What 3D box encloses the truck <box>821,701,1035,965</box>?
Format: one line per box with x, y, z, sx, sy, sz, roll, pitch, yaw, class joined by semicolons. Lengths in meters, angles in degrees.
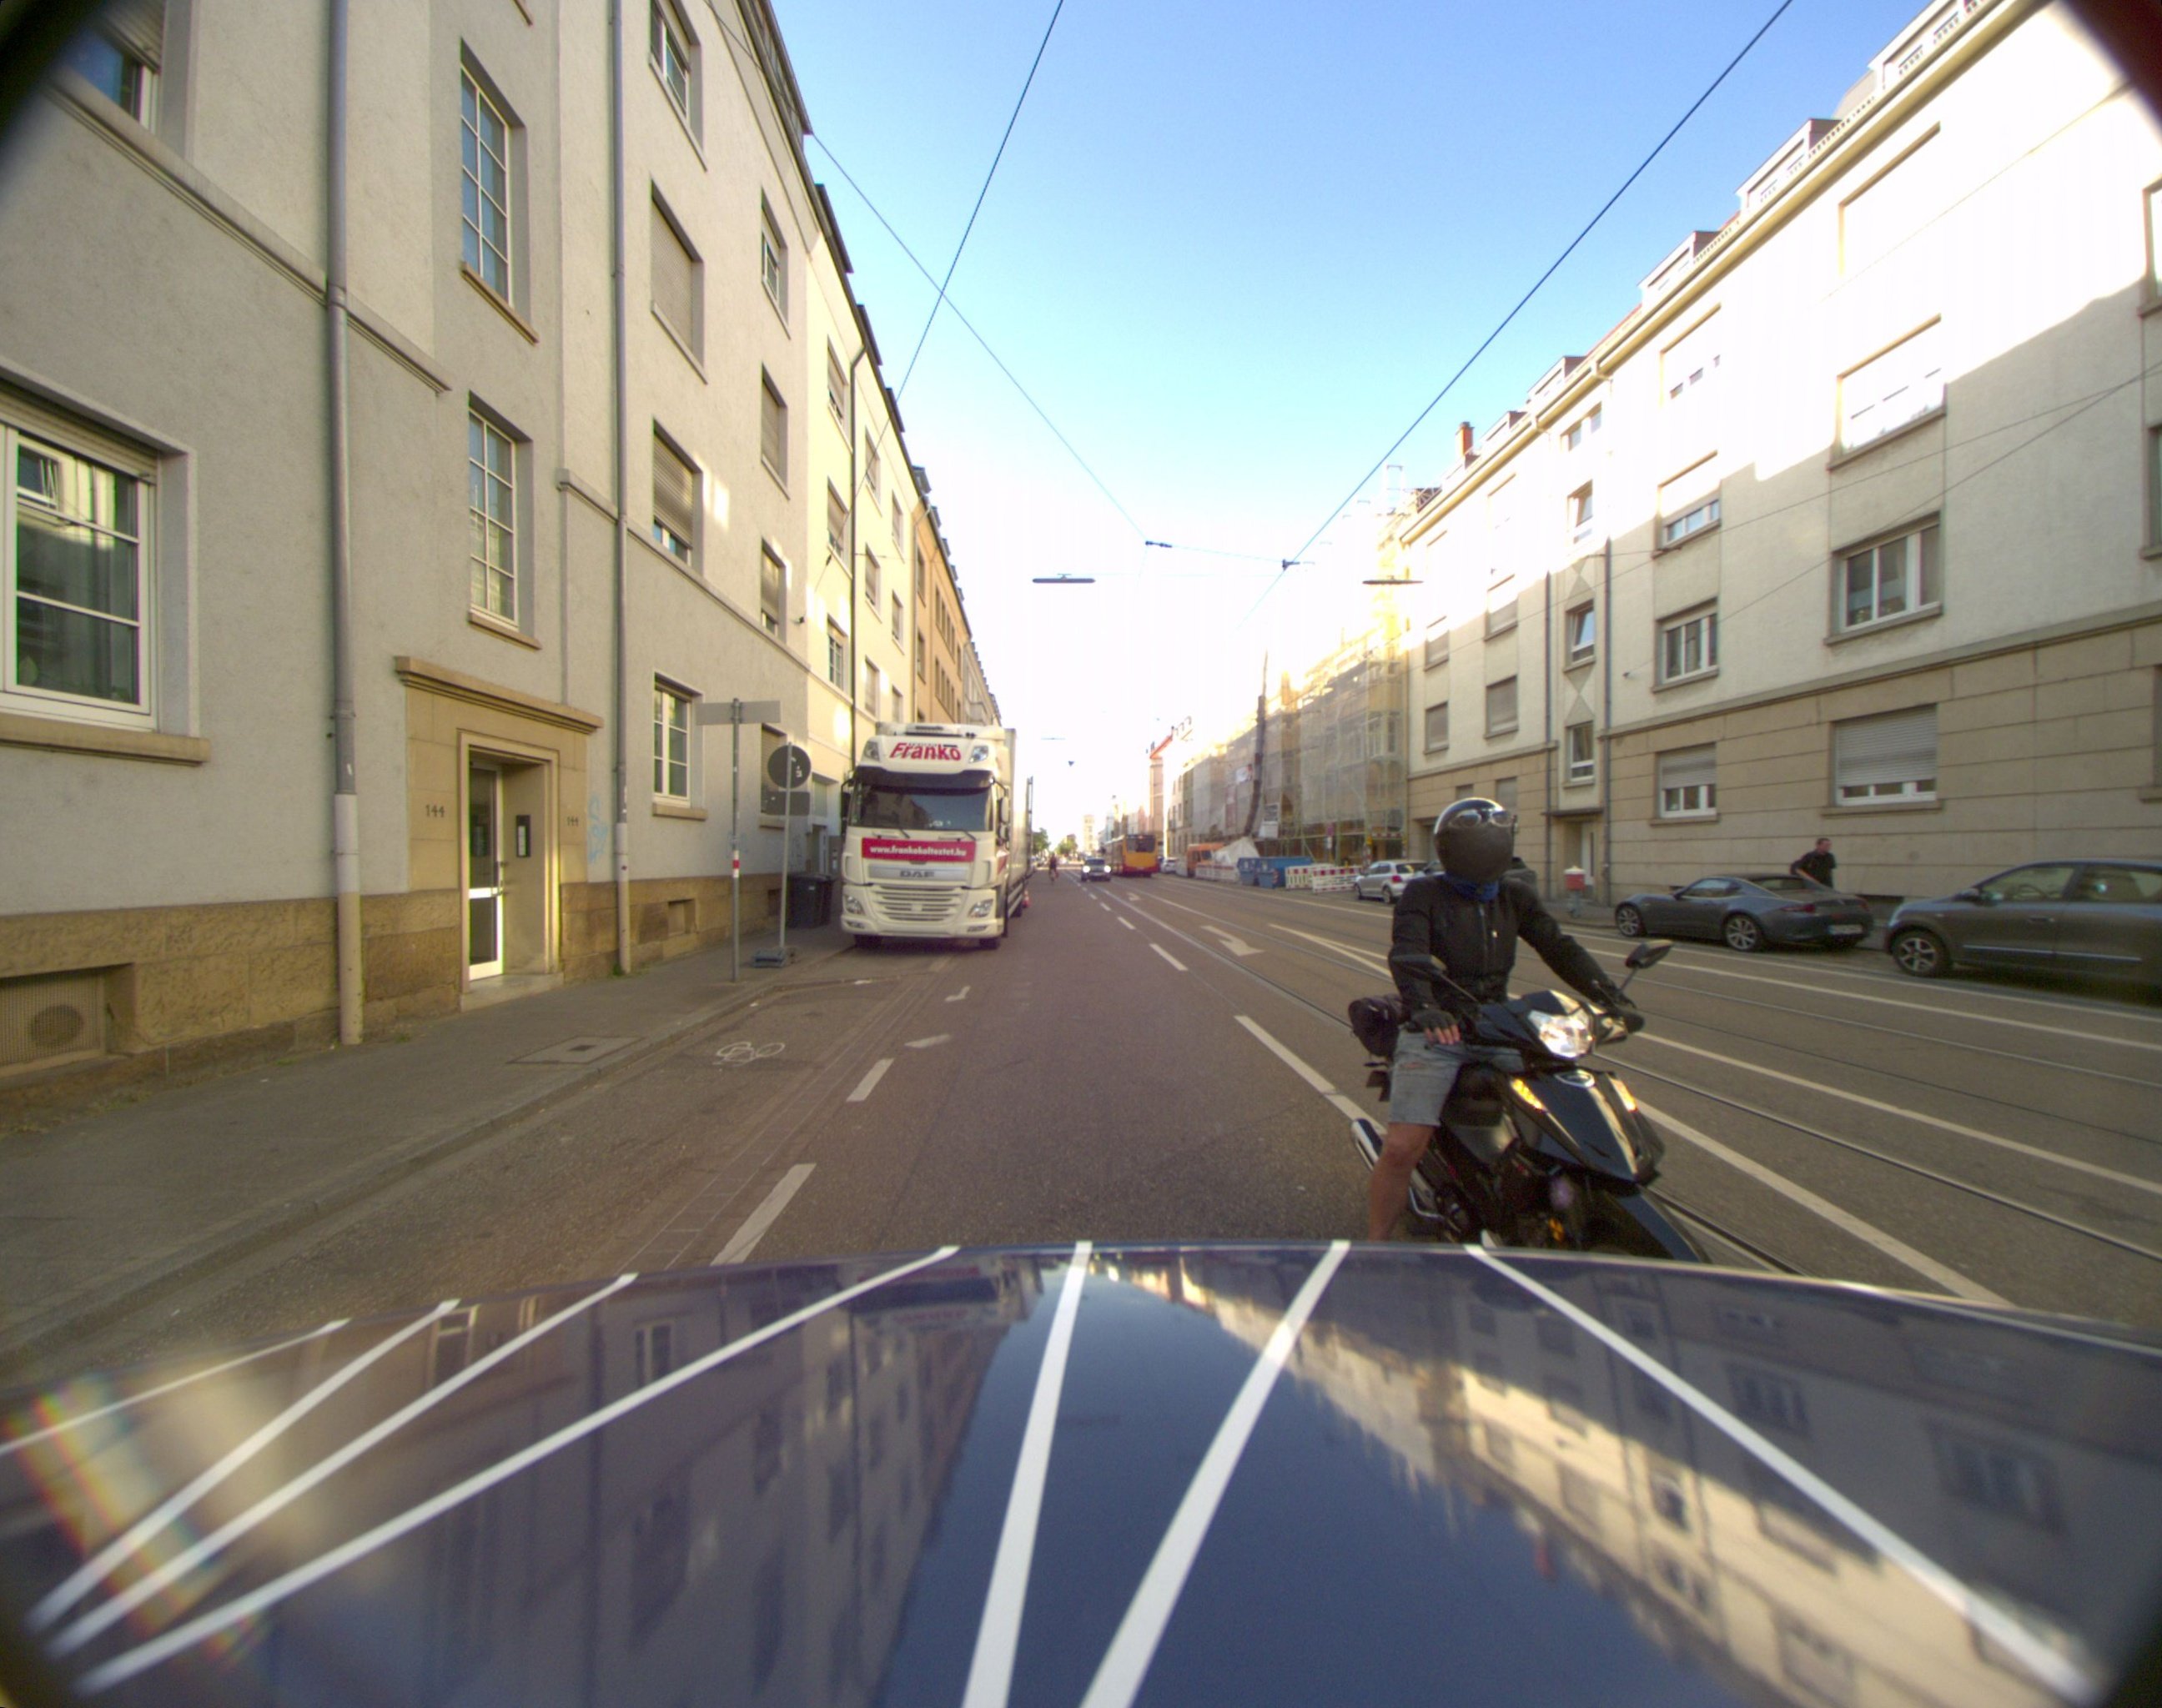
-2.625;-0.318;17.179;2.782;3.903;11.816;0;0;-2;truck

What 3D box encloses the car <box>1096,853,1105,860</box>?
4.262;0.637;167.810;1.684;1.478;3.965;-2;0;-1;car

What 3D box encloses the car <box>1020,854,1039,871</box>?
-4.854;0.757;72.096;1.685;1.522;4.148;-2;0;-3;car

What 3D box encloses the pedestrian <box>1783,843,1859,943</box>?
12.918;0.657;13.286;0.605;1.699;0.730;0;1;-2;pedestrian

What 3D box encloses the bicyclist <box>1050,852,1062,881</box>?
-1.409;0.678;42.908;0.618;1.620;0.759;0;1;-4;bicyclist

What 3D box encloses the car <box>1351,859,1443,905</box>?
10.611;0.886;25.777;1.543;1.404;3.510;-1;0;-3;car

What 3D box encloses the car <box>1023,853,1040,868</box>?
-5.348;0.658;82.742;1.685;1.522;4.148;-2;0;-3;car

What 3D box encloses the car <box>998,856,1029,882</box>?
-4.174;0.902;47.185;1.685;1.522;4.148;-2;0;-3;car

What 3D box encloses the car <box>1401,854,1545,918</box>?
10.812;0.810;21.329;1.696;1.590;4.206;-1;0;-3;car

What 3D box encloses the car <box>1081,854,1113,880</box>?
0.941;0.776;47.109;1.685;1.454;4.148;-2;0;-3;car

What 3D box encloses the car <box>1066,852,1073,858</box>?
-3.718;0.379;241.067;1.999;1.838;3.998;0;0;-4;car

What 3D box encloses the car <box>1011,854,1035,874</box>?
-4.509;0.753;59.156;1.685;1.522;4.148;-2;0;-3;car

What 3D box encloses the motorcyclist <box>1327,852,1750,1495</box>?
1.309;0.818;2.388;0.791;1.645;0.900;0;1;1;motorcyclist

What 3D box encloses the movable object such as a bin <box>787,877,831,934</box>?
-5.382;1.009;15.038;0.666;1.087;0.570;0;1;-2;movable object such as a bin

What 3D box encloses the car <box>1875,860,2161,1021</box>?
11.418;0.863;8.317;1.679;1.519;3.539;-1;0;-3;car

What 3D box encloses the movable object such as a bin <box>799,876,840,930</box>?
-5.399;1.001;15.707;0.666;1.087;0.570;0;1;-2;movable object such as a bin

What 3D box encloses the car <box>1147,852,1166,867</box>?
8.246;0.595;83.181;1.684;1.573;3.966;-2;0;1;car

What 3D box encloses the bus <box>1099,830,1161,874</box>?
3.703;-0.118;63.233;2.755;3.095;19.156;0;0;-3;bus

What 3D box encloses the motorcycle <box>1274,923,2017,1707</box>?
1.310;0.975;2.518;0.791;1.284;2.273;0;0;1;motorcycle

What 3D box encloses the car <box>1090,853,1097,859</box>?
3.315;0.612;206.888;1.684;1.478;3.965;-2;0;-1;car

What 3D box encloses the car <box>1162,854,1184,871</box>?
8.574;0.770;71.110;1.684;1.478;3.966;-2;0;1;car

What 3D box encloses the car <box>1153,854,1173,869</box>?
8.269;0.716;76.808;1.684;1.478;3.966;-2;0;1;car

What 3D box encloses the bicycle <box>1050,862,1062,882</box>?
-1.405;1.007;42.894;0.618;1.097;1.885;0;0;-4;bicycle

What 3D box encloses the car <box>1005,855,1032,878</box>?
-4.301;0.835;52.988;1.685;1.522;4.148;-2;0;-3;car

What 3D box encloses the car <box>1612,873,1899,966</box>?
11.181;1.004;12.979;1.520;1.227;3.685;-1;0;-3;car
